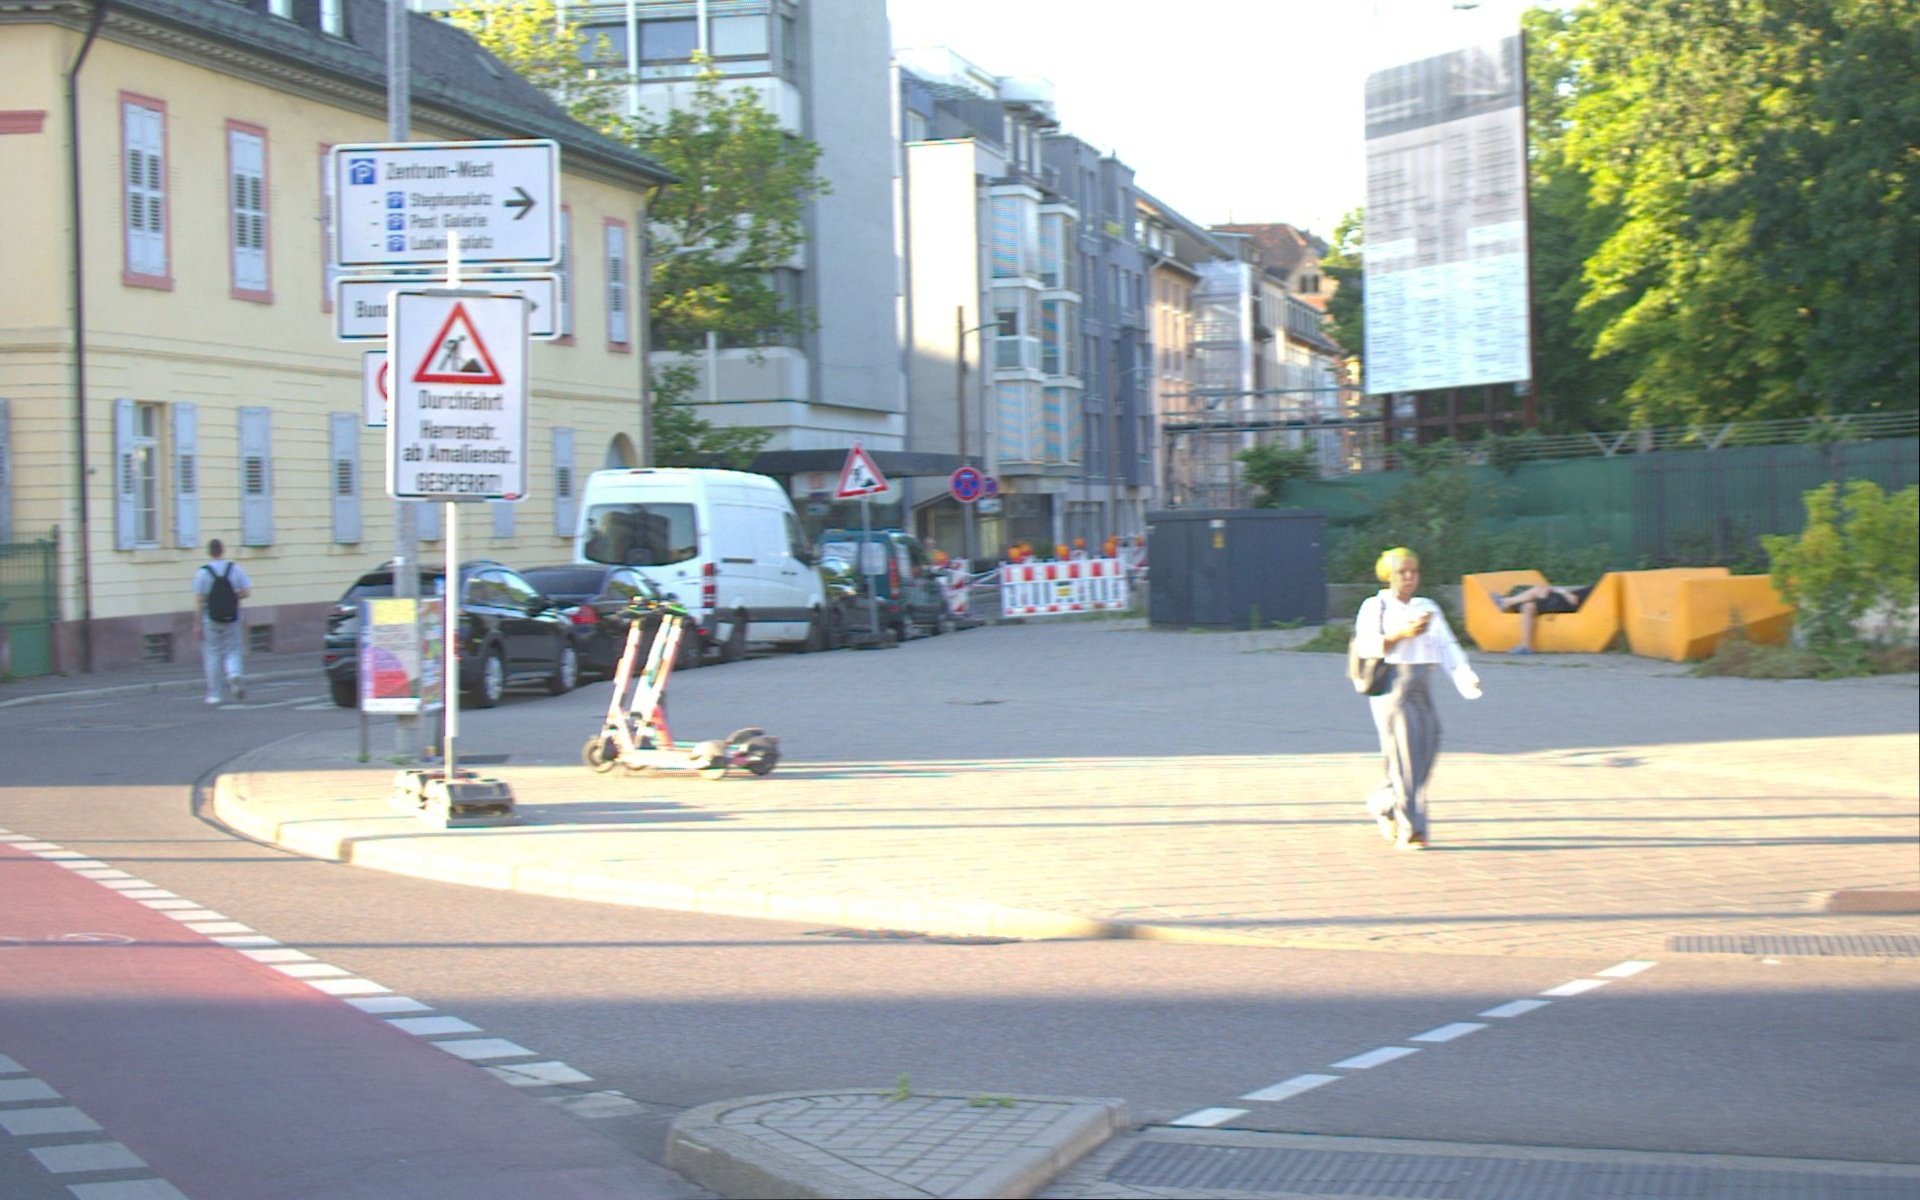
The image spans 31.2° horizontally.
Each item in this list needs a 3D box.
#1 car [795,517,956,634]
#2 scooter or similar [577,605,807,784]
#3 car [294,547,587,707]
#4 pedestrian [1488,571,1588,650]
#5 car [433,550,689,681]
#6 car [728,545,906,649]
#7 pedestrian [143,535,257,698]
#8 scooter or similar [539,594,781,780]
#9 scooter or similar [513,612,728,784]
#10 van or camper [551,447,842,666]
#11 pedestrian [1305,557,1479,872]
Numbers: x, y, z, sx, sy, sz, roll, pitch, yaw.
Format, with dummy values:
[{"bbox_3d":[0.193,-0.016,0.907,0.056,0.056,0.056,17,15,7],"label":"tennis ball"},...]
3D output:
[{"bbox_3d":[-1.359,-0.429,57.025,1.714,1.842,4.020,-1,1,13],"label":"car"},{"bbox_3d":[-1.947,0.684,24.990,1.523,1.255,0.611,-1,1,19],"label":"scooter or similar"},{"bbox_3d":[-5.456,0.243,36.672,1.779,1.538,4.289,-1,1,10],"label":"car"},{"bbox_3d":[6.664,0.120,39.645,0.560,0.890,0.981,-2,1,-42],"label":"pedestrian"},{"bbox_3d":[-4.731,0.149,41.406,1.730,1.424,4.472,-1,1,12],"label":"car"},{"bbox_3d":[-2.131,-0.074,52.483,1.693,1.454,4.097,-1,1,13],"label":"car"},{"bbox_3d":[-8.151,0.170,36.885,0.877,1.718,0.829,0,1,16],"label":"pedestrian"},{"bbox_3d":[-2.133,0.610,24.434,1.649,1.288,0.461,0,1,19],"label":"scooter or similar"},{"bbox_3d":[-2.370,0.684,23.982,1.401,1.162,0.461,-1,1,19],"label":"scooter or similar"},{"bbox_3d":[-3.483,-0.619,47.123,2.078,2.765,6.446,-1,1,13],"label":"van or camper"},{"bbox_3d":[2.274,0.587,18.119,0.687,1.608,0.597,-2,1,-18],"label":"pedestrian"}]
